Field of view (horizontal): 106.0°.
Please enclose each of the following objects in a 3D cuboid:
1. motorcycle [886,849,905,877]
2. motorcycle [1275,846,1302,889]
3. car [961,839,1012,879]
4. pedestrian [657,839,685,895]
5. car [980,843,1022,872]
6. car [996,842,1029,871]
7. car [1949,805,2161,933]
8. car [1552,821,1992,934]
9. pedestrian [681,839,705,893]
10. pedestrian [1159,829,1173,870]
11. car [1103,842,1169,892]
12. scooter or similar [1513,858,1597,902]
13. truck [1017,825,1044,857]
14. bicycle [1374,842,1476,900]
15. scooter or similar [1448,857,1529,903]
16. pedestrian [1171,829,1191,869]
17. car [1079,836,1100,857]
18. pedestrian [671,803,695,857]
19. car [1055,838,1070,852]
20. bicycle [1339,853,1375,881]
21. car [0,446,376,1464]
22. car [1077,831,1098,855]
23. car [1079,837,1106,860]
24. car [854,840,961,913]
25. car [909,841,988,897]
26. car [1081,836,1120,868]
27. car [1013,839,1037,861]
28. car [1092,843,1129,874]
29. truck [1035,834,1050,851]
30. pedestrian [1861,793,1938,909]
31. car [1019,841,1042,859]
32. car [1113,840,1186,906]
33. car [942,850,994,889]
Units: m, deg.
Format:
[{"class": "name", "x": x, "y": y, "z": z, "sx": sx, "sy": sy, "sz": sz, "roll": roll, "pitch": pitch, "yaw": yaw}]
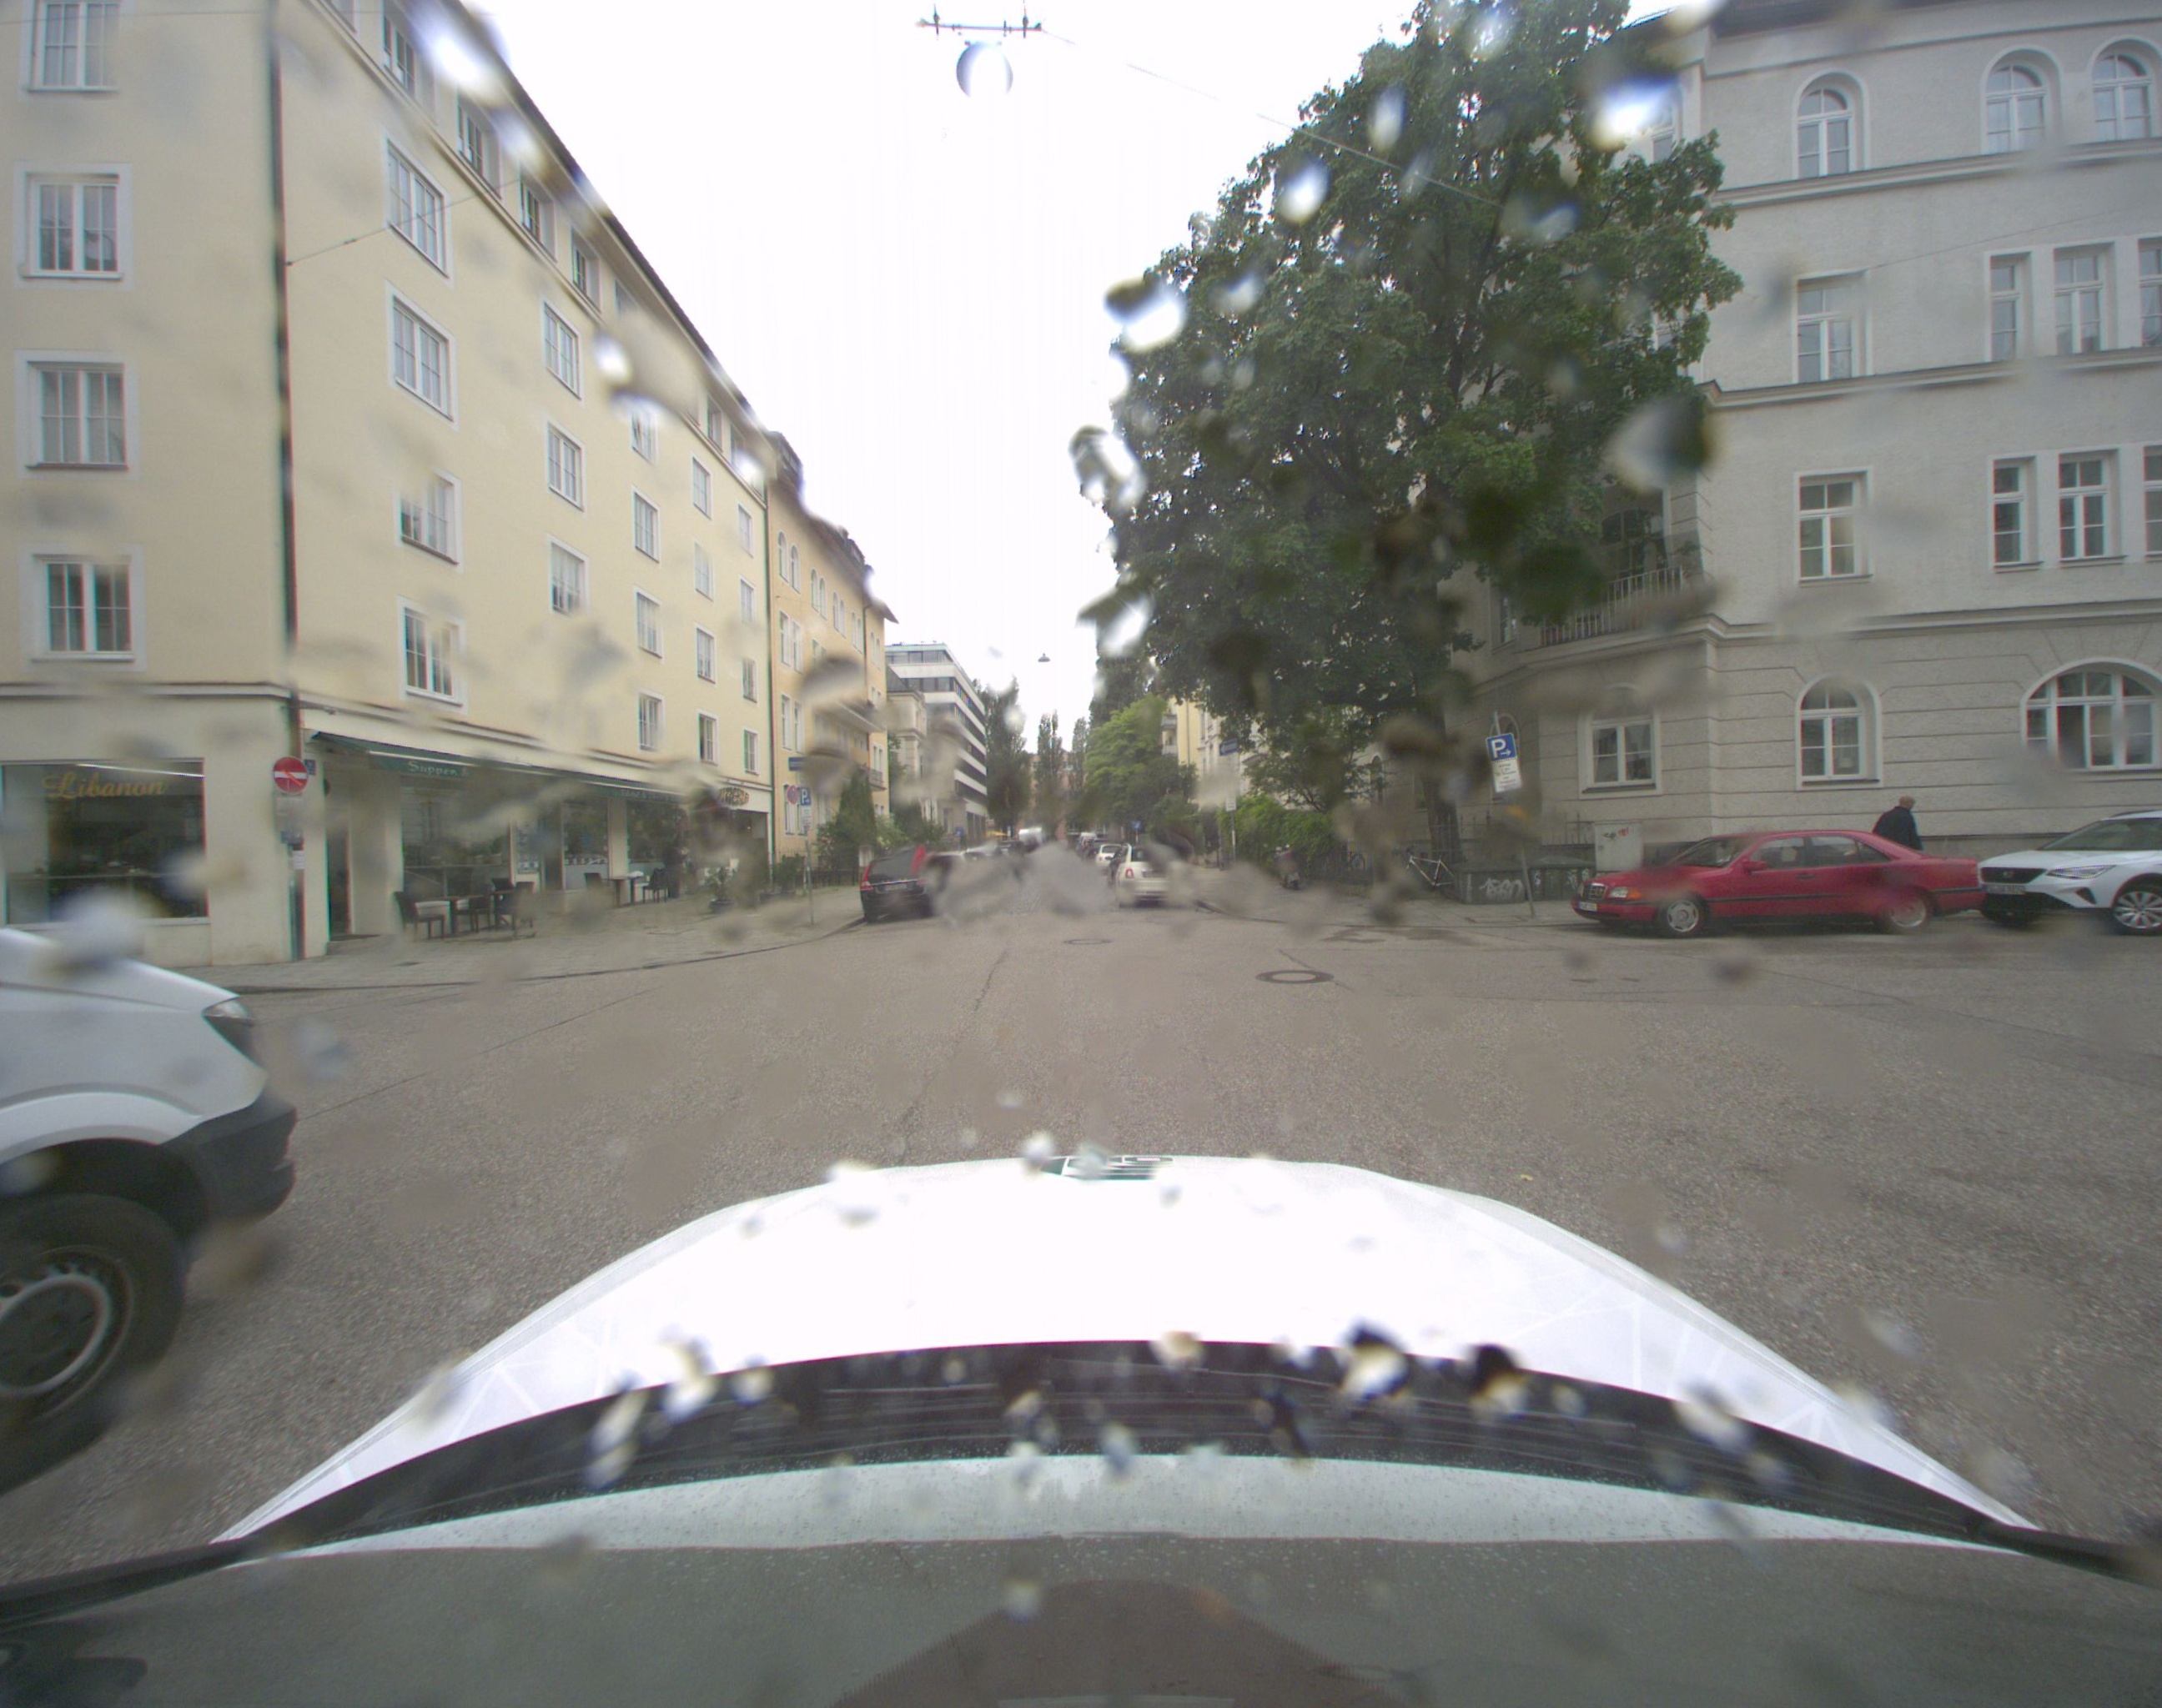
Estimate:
[{"class": "motorcycle", "x": -8.308, "y": 0.405, "z": 36.501, "sx": 0.489, "sy": 1.194, "sz": 1.578, "roll": -1, "pitch": 1, "yaw": -2}, {"class": "motorcycle", "x": 5.399, "y": 0.336, "z": 21.226, "sx": 0.361, "sy": 1.090, "sz": 1.404, "roll": -1, "pitch": 0, "yaw": 2}, {"class": "car", "x": -4.200, "y": 0.200, "z": 36.681, "sx": 1.768, "sy": 1.647, "sz": 4.390, "roll": -1, "pitch": 0, "yaw": 0}, {"class": "pedestrian", "x": -12.326, "y": 0.375, "z": 24.490, "sx": 0.520, "sy": 1.642, "sz": 0.629, "roll": -1, "pitch": 0, "yaw": -2}, {"class": "car", "x": -4.160, "y": 0.173, "z": 42.720, "sx": 1.768, "sy": 1.429, "sz": 4.390, "roll": -1, "pitch": 0, "yaw": 0}, {"class": "car", "x": -4.066, "y": 0.111, "z": 48.962, "sx": 1.575, "sy": 1.590, "sz": 4.054, "roll": -3, "pitch": 0, "yaw": -1}, {"class": "car", "x": 13.982, "y": 0.147, "z": 10.459, "sx": 3.868, "sy": 1.521, "sz": 1.567, "roll": -1, "pitch": 0, "yaw": 4}, {"class": "car", "x": 9.302, "y": 0.302, "z": 11.311, "sx": 4.444, "sy": 1.358, "sz": 1.764, "roll": -1, "pitch": 1, "yaw": 6}, {"class": "pedestrian", "x": -12.385, "y": 0.370, "z": 25.993, "sx": 0.460, "sy": 1.690, "sz": 0.574, "roll": -1, "pitch": 0, "yaw": -1}, {"class": "pedestrian", "x": 3.909, "y": -0.223, "z": 37.424, "sx": 0.573, "sy": 1.850, "sz": 0.683, "roll": -1, "pitch": 0, "yaw": 6}, {"class": "car", "x": 1.697, "y": 0.375, "z": 26.523, "sx": 1.644, "sy": 1.422, "sz": 4.628, "roll": 2, "pitch": 0, "yaw": -2}, {"class": "scooter or similar", "x": 9.190, "y": 0.498, "z": 15.834, "sx": 1.230, "sy": 0.825, "sz": 0.698, "roll": -1, "pitch": 0, "yaw": 8}, {"class": "truck", "x": -5.123, "y": -1.359, "z": 83.863, "sx": 2.502, "sy": 3.031, "sz": 6.380, "roll": -3, "pitch": 1, "yaw": -2}, {"class": "bicycle", "x": 7.082, "y": 0.349, "z": 16.825, "sx": 1.827, "sy": 1.124, "sz": 0.564, "roll": -1, "pitch": 1, "yaw": 8}, {"class": "scooter or similar", "x": 7.937, "y": 0.497, "z": 15.919, "sx": 1.176, "sy": 0.848, "sz": 0.926, "roll": -1, "pitch": 0, "yaw": 8}, {"class": "pedestrian", "x": 4.646, "y": -0.225, "z": 37.767, "sx": 0.631, "sy": 1.808, "sz": 0.655, "roll": -1, "pitch": 0, "yaw": -24}, {"class": "car", "x": 0.775, "y": -0.743, "z": 79.792, "sx": 1.795, "sy": 1.949, "sz": 4.857, "roll": 2, "pitch": 0, "yaw": -2}, {"class": "pedestrian", "x": -12.347, "y": -0.734, "z": 25.287, "sx": 0.475, "sy": 1.642, "sz": 0.497, "roll": -1, "pitch": 0, "yaw": 3}, {"class": "car", "x": -2.761, "y": -1.344, "z": 122.305, "sx": 1.990, "sy": 1.936, "sz": 4.000, "roll": -1, "pitch": 0, "yaw": 0}, {"class": "bicycle", "x": 8.603, "y": 0.388, "z": 25.459, "sx": 0.489, "sy": 0.812, "sz": 2.275, "roll": -1, "pitch": 0, "yaw": 3}, {"class": "car", "x": -3.759, "y": 0.293, "z": 0.174, "sx": 1.970, "sy": 2.574, "sz": 5.795, "roll": -3, "pitch": 0, "yaw": 1}, {"class": "car", "x": 0.639, "y": -1.170, "z": 85.270, "sx": 1.890, "sy": 2.426, "sz": 5.607, "roll": 2, "pitch": 1, "yaw": -2}, {"class": "car", "x": 0.897, "y": -0.430, "z": 66.770, "sx": 1.958, "sy": 1.759, "sz": 4.951, "roll": -1, "pitch": 0, "yaw": -2}, {"class": "car", "x": -4.195, "y": 0.491, "z": 20.490, "sx": 1.848, "sy": 1.586, "sz": 4.743, "roll": -1, "pitch": 0, "yaw": -3}, {"class": "car", "x": -4.011, "y": 0.411, "z": 25.373, "sx": 1.768, "sy": 1.536, "sz": 4.538, "roll": -1, "pitch": 0, "yaw": -1}, {"class": "car", "x": 1.044, "y": -0.134, "z": 46.120, "sx": 1.870, "sy": 1.672, "sz": 5.486, "roll": -1, "pitch": 0, "yaw": -2}, {"class": "car", "x": -4.595, "y": -0.364, "z": 67.275, "sx": 1.769, "sy": 1.717, "sz": 4.388, "roll": -1, "pitch": 0, "yaw": -2}, {"class": "car", "x": 1.455, "y": 0.200, "z": 41.064, "sx": 1.625, "sy": 1.469, "sz": 3.657, "roll": 1, "pitch": 0, "yaw": -1}, {"class": "truck", "x": -5.341, "y": -1.565, "z": 112.750, "sx": 1.988, "sy": 2.346, "sz": 4.066, "roll": -1, "pitch": 0, "yaw": -1}, {"class": "pedestrian", "x": 13.543, "y": -0.054, "z": 13.493, "sx": 0.493, "sy": 1.876, "sz": 0.741, "roll": -1, "pitch": 0, "yaw": -6}, {"class": "car", "x": -4.454, "y": -0.356, "z": 72.647, "sx": 1.935, "sy": 1.459, "sz": 4.055, "roll": -1, "pitch": 0, "yaw": -2}, {"class": "car", "x": 1.645, "y": 0.417, "z": 20.537, "sx": 1.497, "sy": 1.471, "sz": 3.795, "roll": -1, "pitch": 0, "yaw": 0}, {"class": "car", "x": -4.208, "y": 0.534, "z": 30.771, "sx": 1.771, "sy": 1.359, "sz": 4.382, "roll": -1, "pitch": 0, "yaw": -6}]
